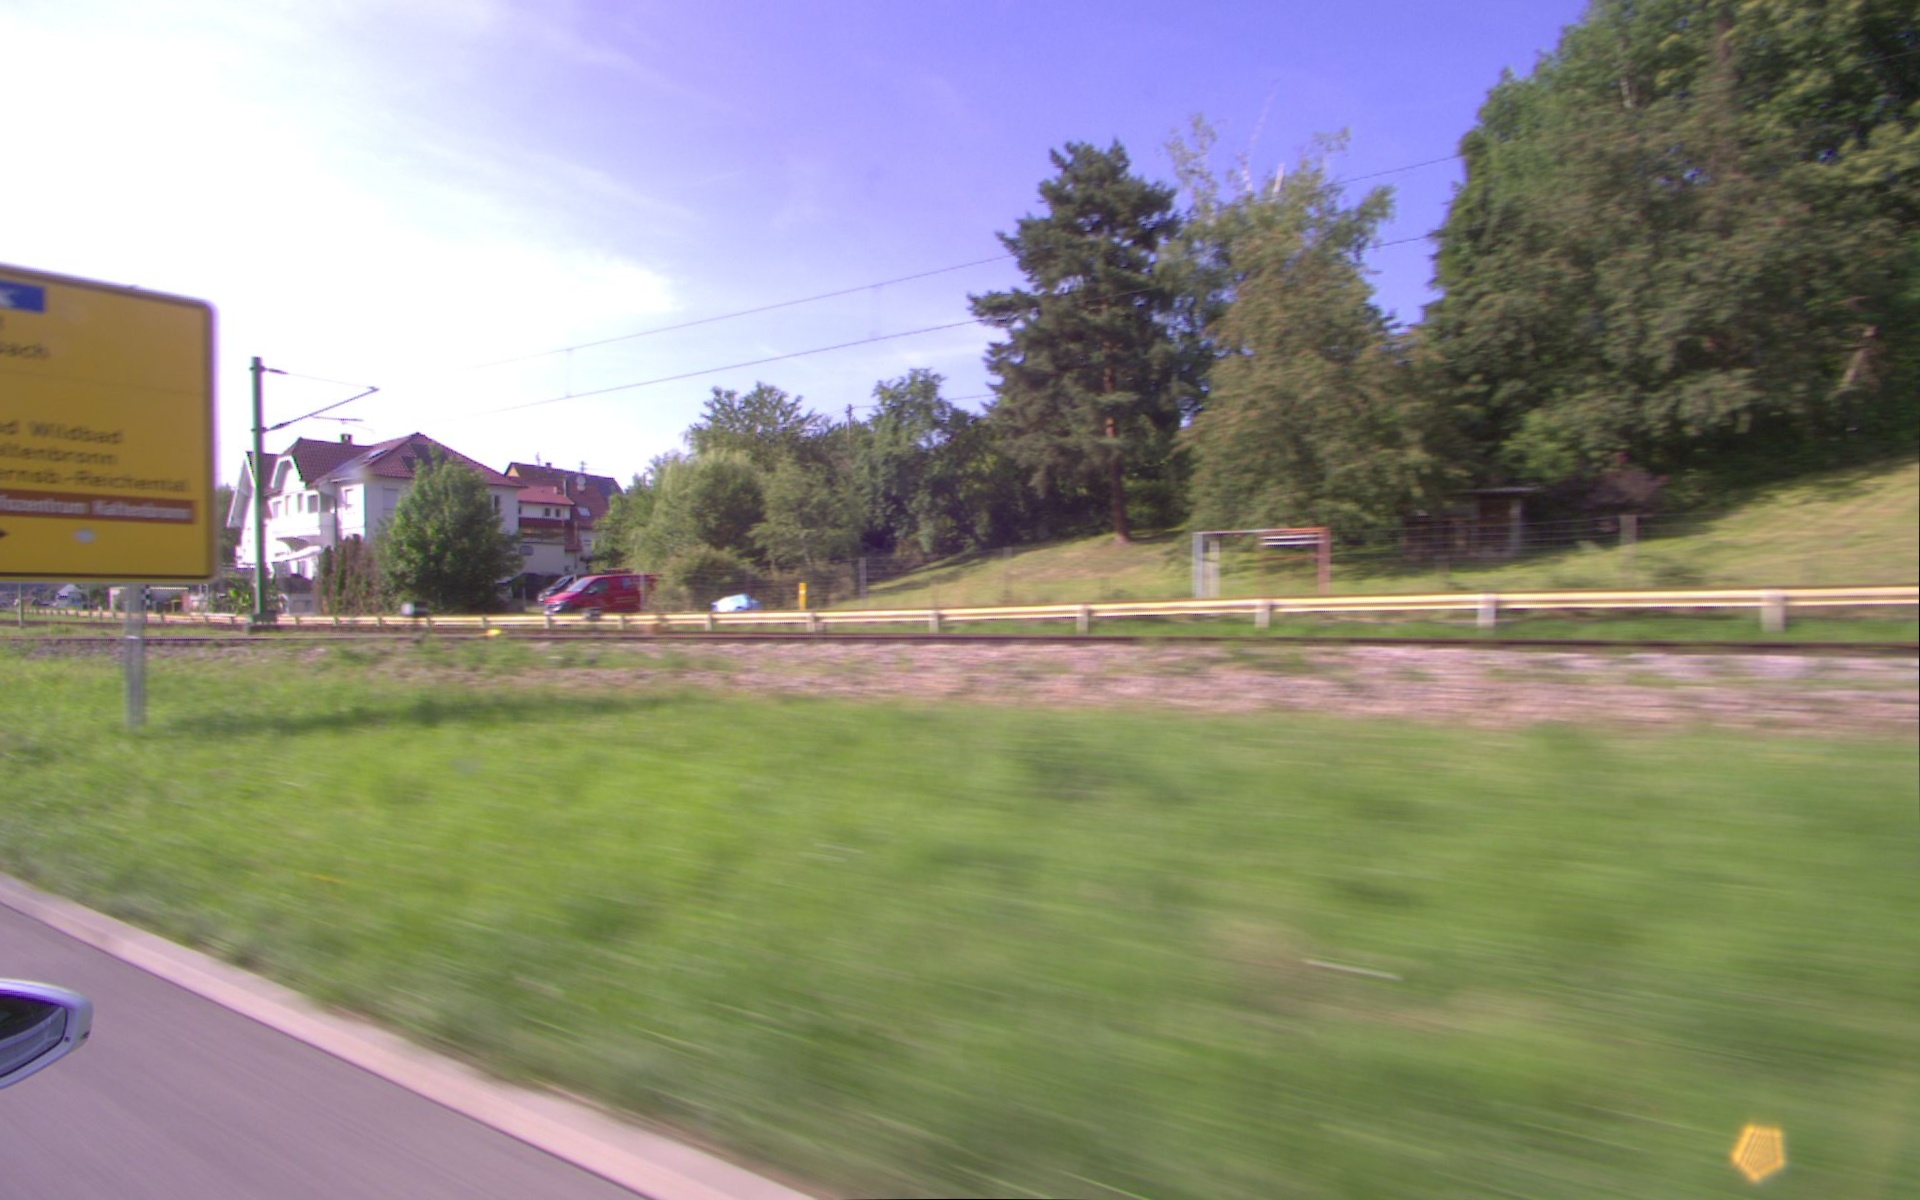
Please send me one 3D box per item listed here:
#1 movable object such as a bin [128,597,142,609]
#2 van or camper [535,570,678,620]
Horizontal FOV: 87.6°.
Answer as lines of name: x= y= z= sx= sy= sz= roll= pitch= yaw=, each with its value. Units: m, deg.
movable object such as a bin: x=-70.436 y=0.261 z=85.528 sx=0.902 sy=1.064 sz=0.803 roll=1 pitch=-1 yaw=44
van or camper: x=-14.902 y=-0.273 z=42.492 sx=2.096 sy=1.955 sz=5.388 roll=0 pitch=2 yaw=41
